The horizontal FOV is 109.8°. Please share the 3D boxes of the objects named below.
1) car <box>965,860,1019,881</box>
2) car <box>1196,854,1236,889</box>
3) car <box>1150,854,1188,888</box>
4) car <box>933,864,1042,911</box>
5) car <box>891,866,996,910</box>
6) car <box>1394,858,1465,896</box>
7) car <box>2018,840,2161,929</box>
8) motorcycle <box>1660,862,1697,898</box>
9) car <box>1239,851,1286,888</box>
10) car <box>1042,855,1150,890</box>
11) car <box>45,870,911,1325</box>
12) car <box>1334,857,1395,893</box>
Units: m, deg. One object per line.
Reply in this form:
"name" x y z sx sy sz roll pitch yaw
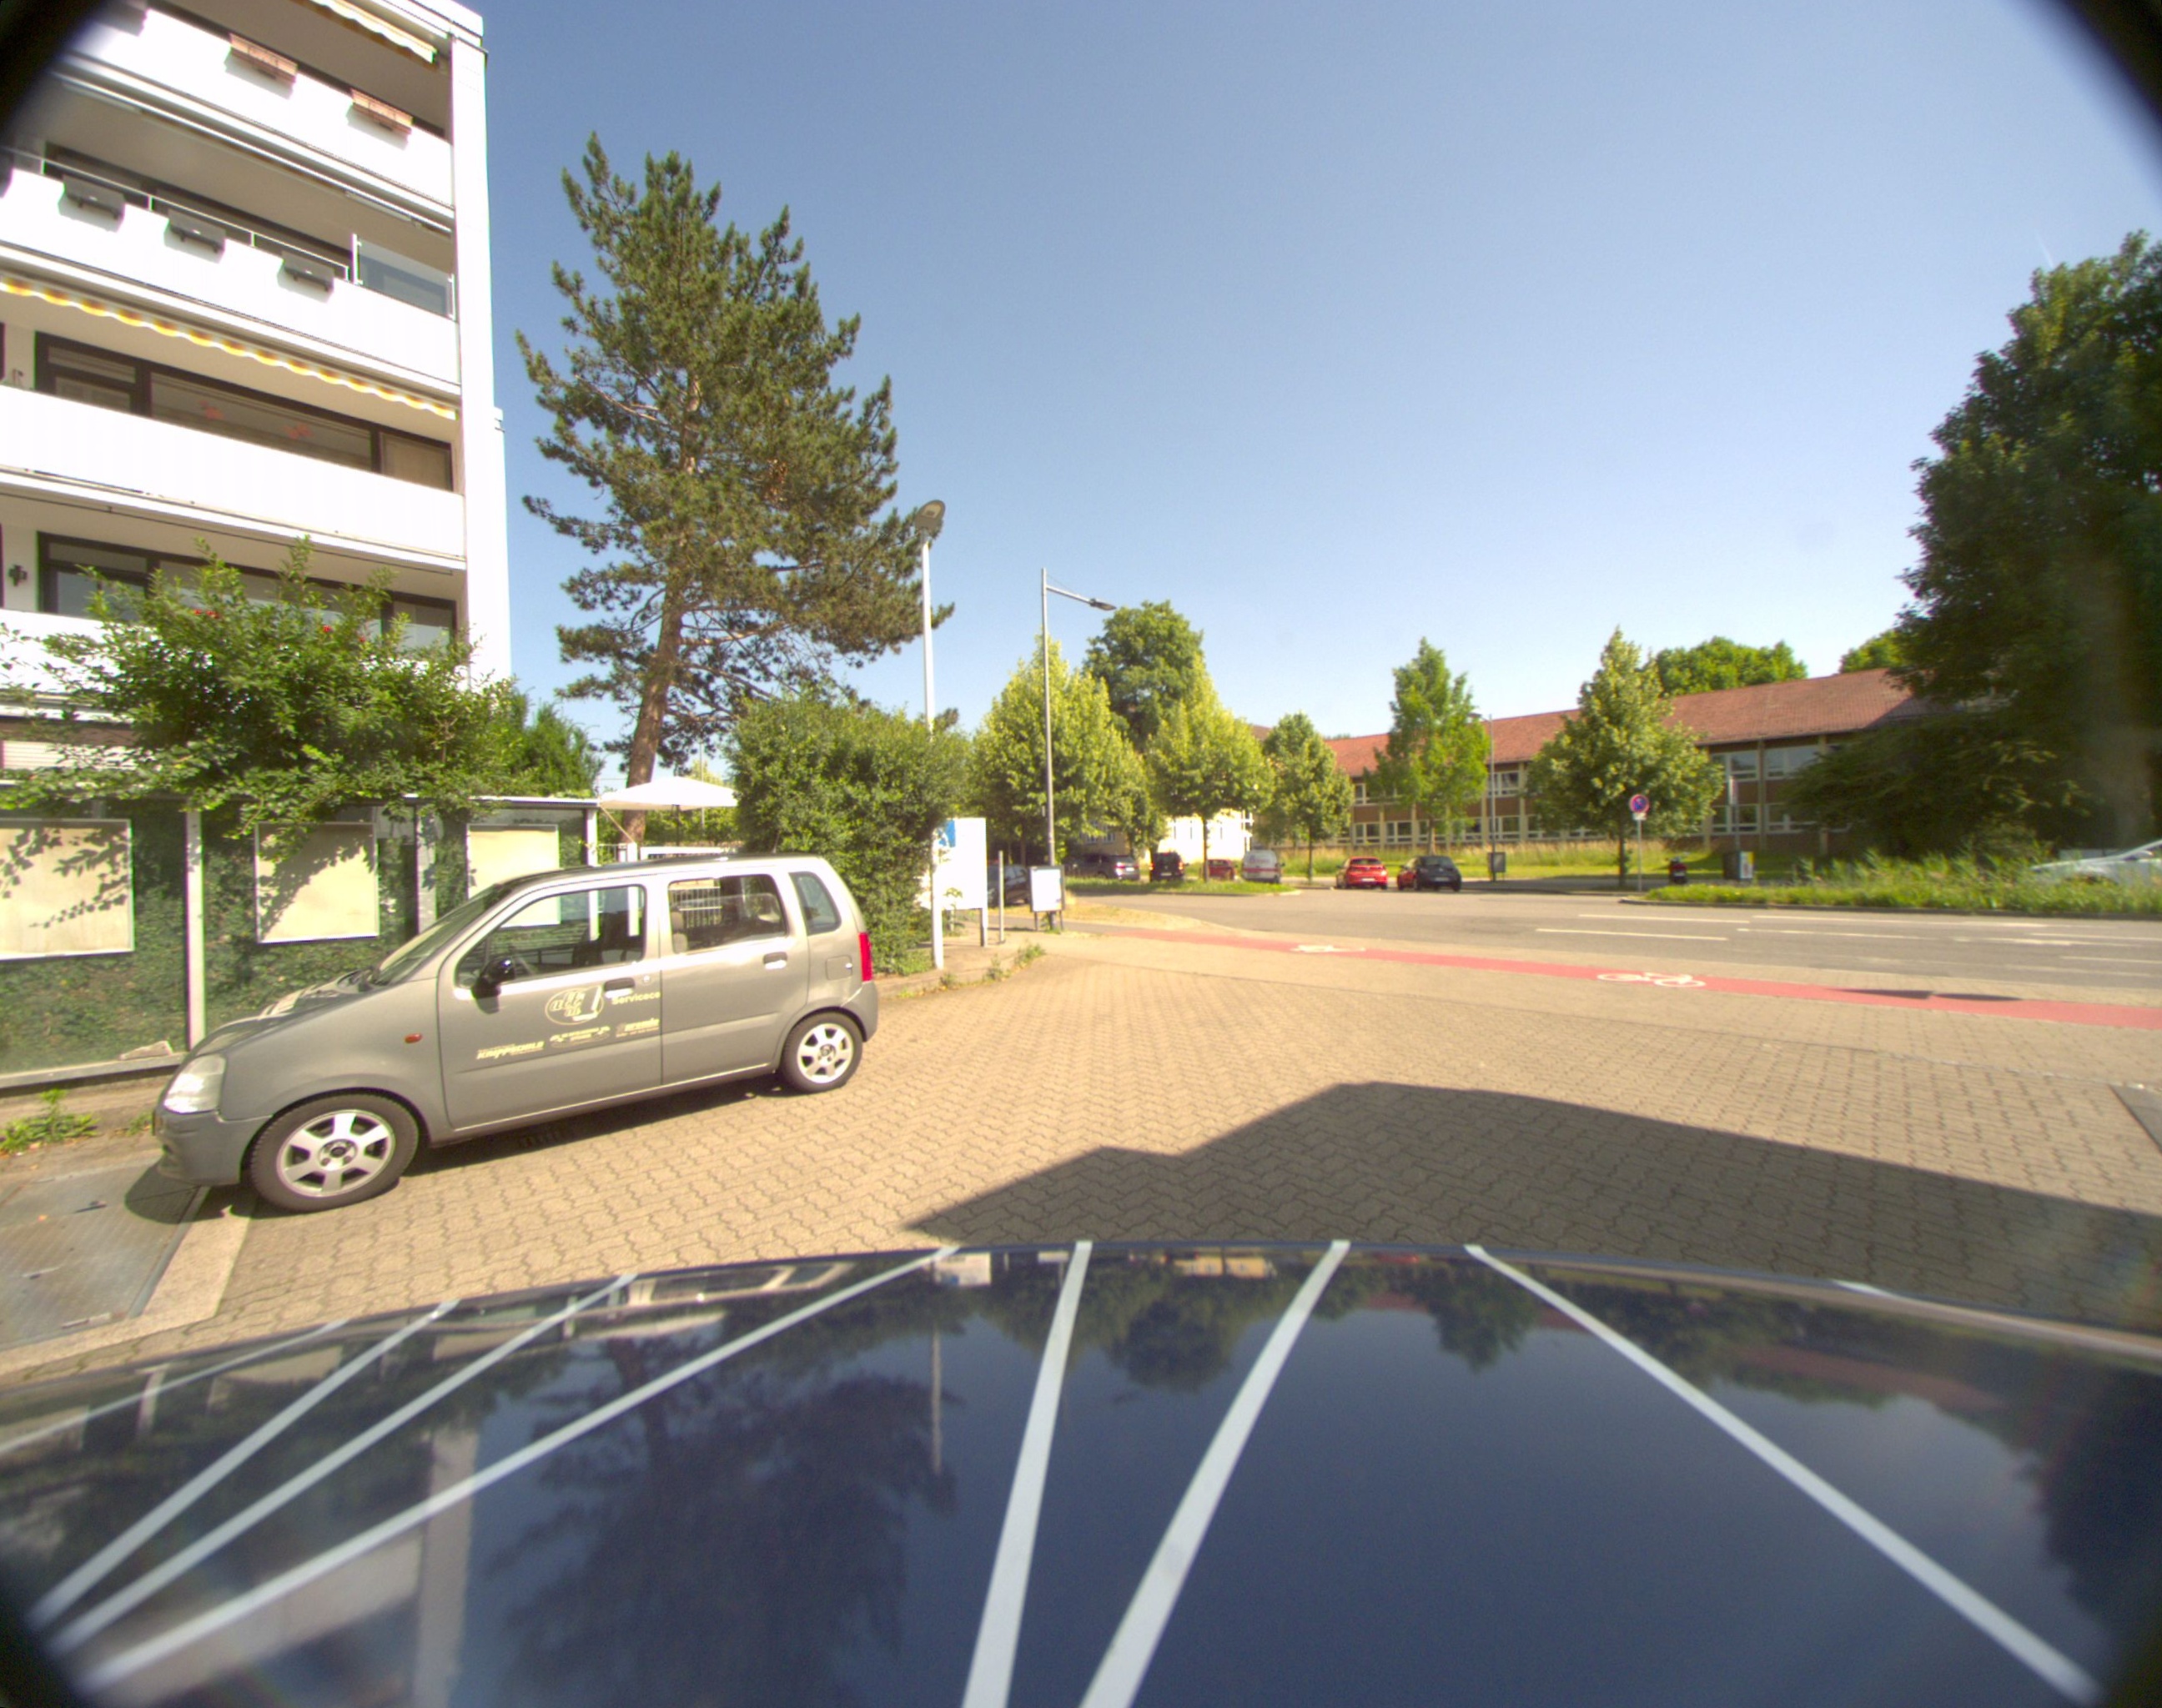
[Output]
"car" -6.164 1.131 52.813 1.876 1.382 3.734 0 -1 29
"car" 6.907 0.900 39.151 1.879 1.712 4.229 1 -1 8
"car" 4.741 0.893 40.431 1.879 1.712 4.229 1 -1 8
"car" -2.994 1.067 25.304 1.877 1.408 4.233 0 -1 20
"car" -4.920 1.173 27.806 1.877 1.472 4.233 0 -1 20
"car" 14.338 0.934 31.474 1.739 1.451 4.230 0 -1 11
"car" 22.682 0.598 15.479 2.004 1.759 4.378 -2 0 -44
"motorcycle" 19.746 0.851 25.138 0.556 1.107 1.762 -1 0 24
"car" 8.929 0.754 37.090 1.877 1.712 4.232 1 -1 18
"car" 0.655 0.937 38.080 2.005 1.601 5.643 2 -2 -44
"car" -3.173 0.997 4.815 3.669 1.608 1.687 -3 1 -41
"car" 12.384 0.883 33.435 1.878 1.451 4.230 1 -1 11
